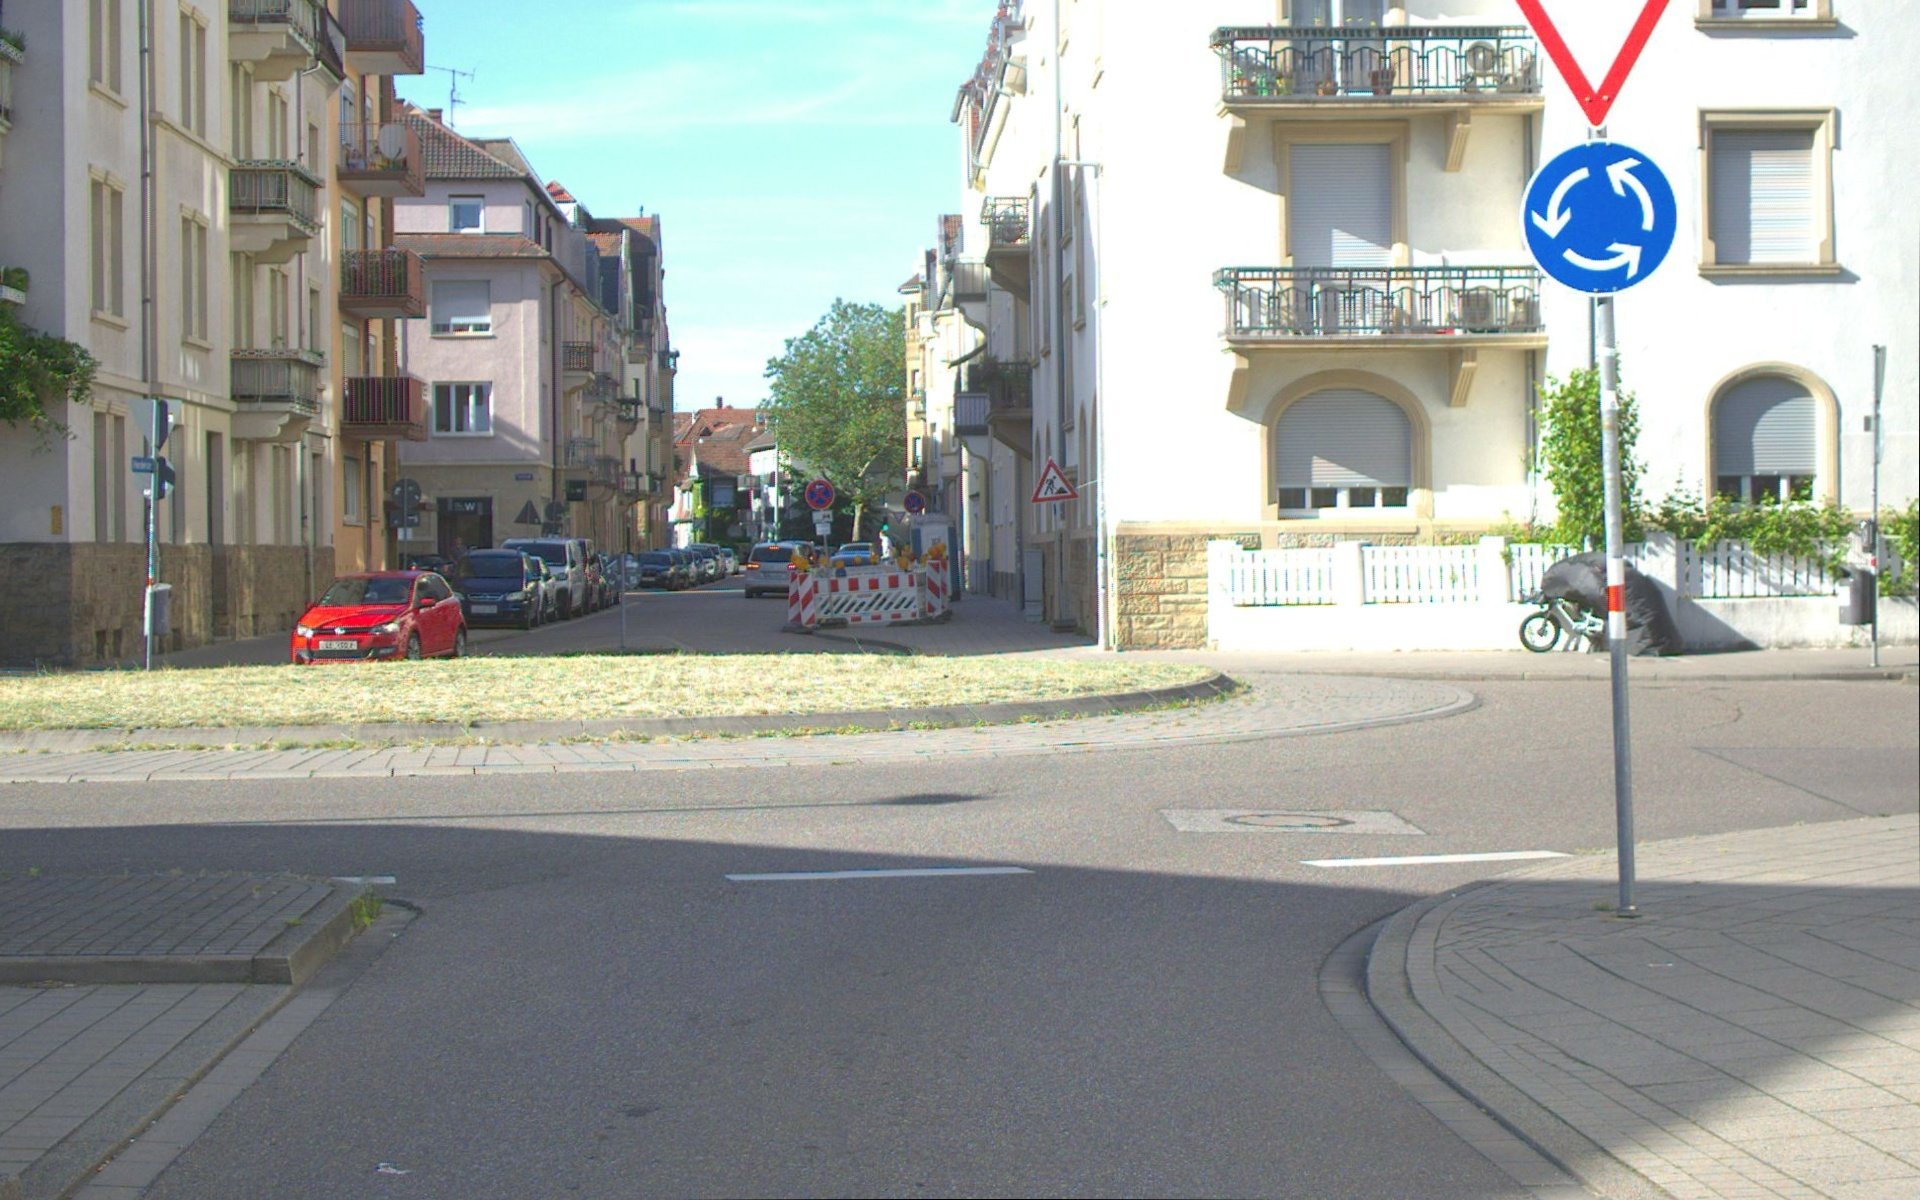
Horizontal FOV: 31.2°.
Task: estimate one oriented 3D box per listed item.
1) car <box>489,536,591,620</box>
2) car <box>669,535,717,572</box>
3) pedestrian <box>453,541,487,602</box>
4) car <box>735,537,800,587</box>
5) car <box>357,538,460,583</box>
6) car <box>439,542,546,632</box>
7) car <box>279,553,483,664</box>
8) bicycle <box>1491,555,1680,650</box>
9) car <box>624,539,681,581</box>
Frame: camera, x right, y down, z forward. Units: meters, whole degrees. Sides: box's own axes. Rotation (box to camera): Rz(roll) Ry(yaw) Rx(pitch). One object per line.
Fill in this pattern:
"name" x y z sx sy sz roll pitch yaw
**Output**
"car" -9.936 -0.563 81.625 1.975 1.918 5.310 0 1 -2
"car" -12.213 -2.128 157.605 2.003 1.613 4.488 2 0 -3
"pedestrian" -14.641 -0.853 102.731 0.923 1.811 0.995 0 1 -5
"car" -5.972 -1.156 106.767 1.838 1.426 4.029 -2 0 -1
"car" -18.637 -1.339 116.116 3.529 1.434 1.700 2 3 44
"car" -9.529 -0.288 70.319 1.762 1.765 4.295 0 1 -2
"car" -8.183 0.088 48.933 1.712 1.377 3.999 -2 2 8
"bicycle" 7.917 0.020 43.575 2.284 1.153 0.765 1 1 41
"car" -11.256 -1.454 126.214 1.679 1.421 4.274 2 0 0
